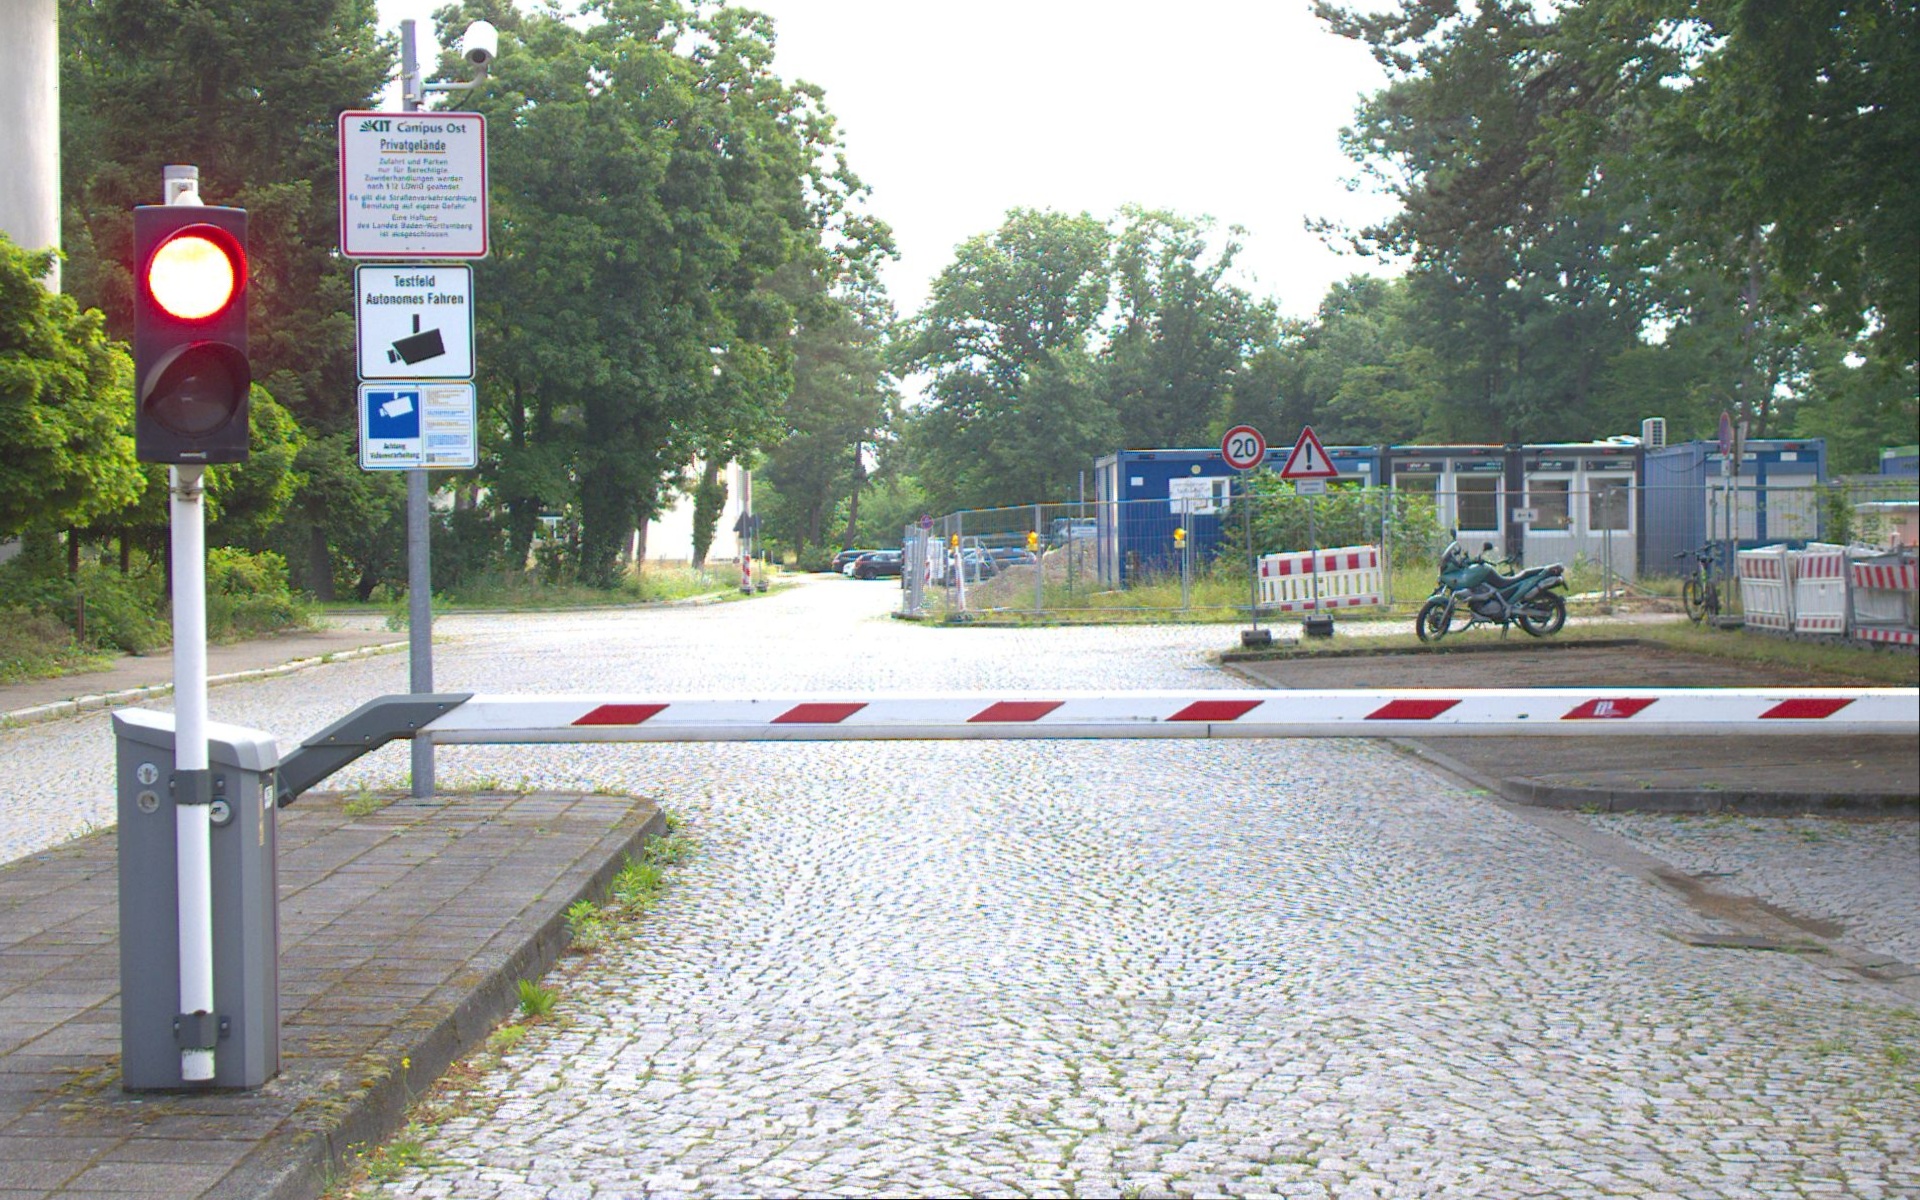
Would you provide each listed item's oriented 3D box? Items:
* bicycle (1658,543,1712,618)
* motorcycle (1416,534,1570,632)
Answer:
[{"bbox_3d":[10.000,-0.259,47.448,0.332,1.004,1.726,-1,-1,-1],"label":"bicycle"},{"bbox_3d":[7.104,-0.227,45.873,1.956,1.191,0.461,-2,6,-2],"label":"motorcycle"}]
